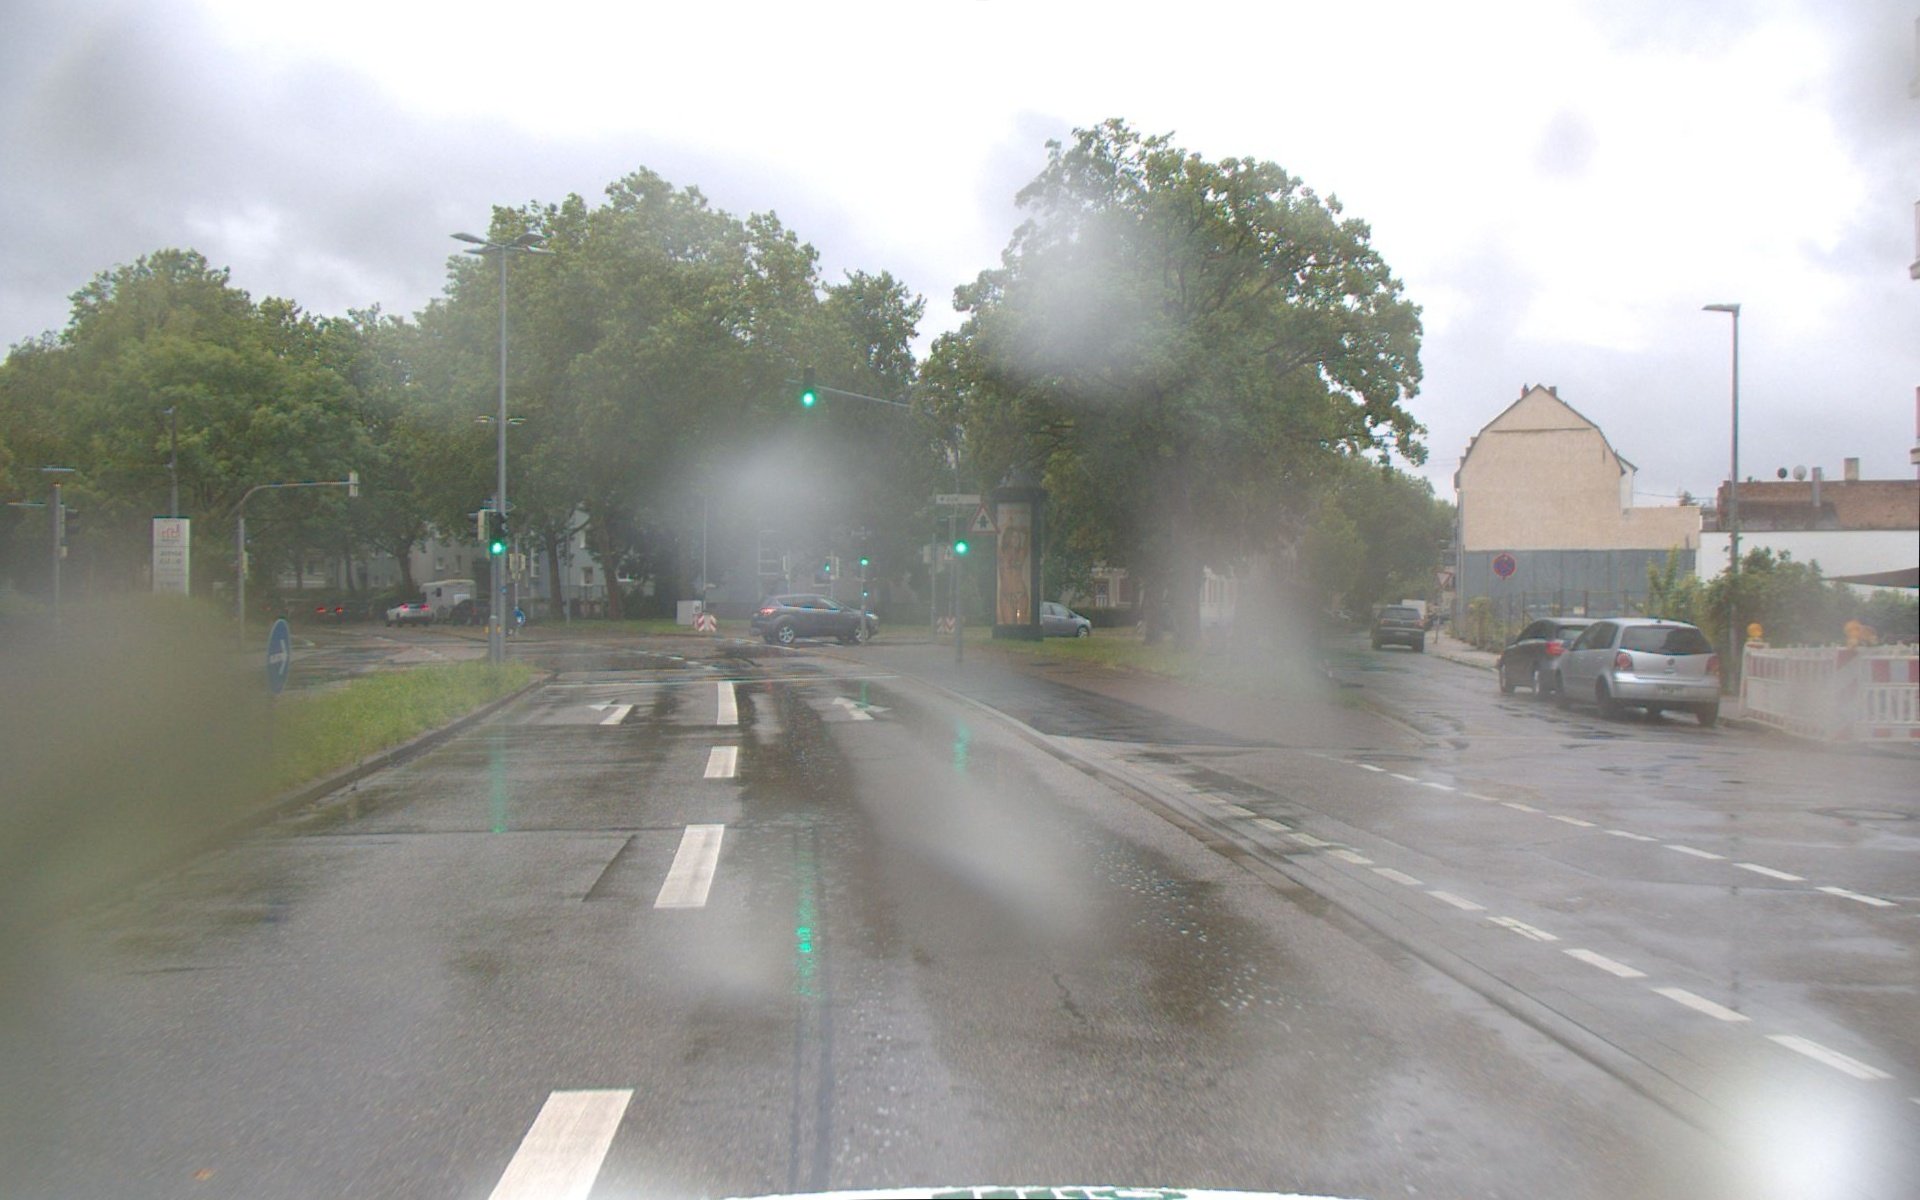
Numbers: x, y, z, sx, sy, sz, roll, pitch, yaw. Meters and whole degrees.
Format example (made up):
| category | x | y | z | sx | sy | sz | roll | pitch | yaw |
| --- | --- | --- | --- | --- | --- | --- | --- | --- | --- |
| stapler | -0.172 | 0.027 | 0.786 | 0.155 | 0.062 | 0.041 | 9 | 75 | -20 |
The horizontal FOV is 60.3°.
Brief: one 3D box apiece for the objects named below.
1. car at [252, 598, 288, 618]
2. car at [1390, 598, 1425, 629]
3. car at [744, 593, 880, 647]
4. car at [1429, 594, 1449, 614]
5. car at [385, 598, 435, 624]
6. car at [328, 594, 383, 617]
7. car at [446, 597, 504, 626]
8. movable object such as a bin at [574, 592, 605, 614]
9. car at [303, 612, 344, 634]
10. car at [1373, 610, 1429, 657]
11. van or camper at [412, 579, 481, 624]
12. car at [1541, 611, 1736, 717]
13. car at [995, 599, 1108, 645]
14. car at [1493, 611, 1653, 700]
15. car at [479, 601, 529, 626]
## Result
| category | x | y | z | sx | sy | sz | roll | pitch | yaw |
| --- | --- | --- | --- | --- | --- | --- | --- | --- | --- |
| car | -52.918 | 0.601 | 126.807 | 1.694 | 1.436 | 3.596 | -2 | 1 | -37 |
| car | 33.566 | 1.036 | 123.950 | 2.300 | 2.247 | 4.614 | 1 | -1 | 18 |
| car | -5.058 | 0.693 | 56.446 | 4.229 | 1.774 | 1.987 | 1 | -1 | -21 |
| car | 50.981 | 0.457 | 175.868 | 1.952 | 2.049 | 4.002 | 1 | -1 | 18 |
| car | -32.715 | 0.636 | 98.347 | 1.694 | 1.436 | 3.596 | -2 | 1 | -37 |
| car | -44.869 | 0.447 | 122.875 | 1.760 | 1.629 | 3.768 | 0 | -1 | 22 |
| car | -29.360 | 0.706 | 99.990 | 1.902 | 1.649 | 4.392 | 1 | -2 | -38 |
| movable object such as a bin | -25.713 | 0.194 | 114.788 | 1.825 | 1.458 | 1.212 | 0 | -1 | 35 |
| car | -44.154 | 1.564 | 114.686 | 1.694 | 1.436 | 3.596 | -2 | 1 | -37 |
| car | 16.718 | 1.258 | 62.831 | 1.814 | 1.683 | 4.308 | 1 | -1 | 12 |
| van or camper | -33.476 | 0.127 | 107.604 | 2.300 | 2.856 | 6.778 | 1 | -1 | -35 |
| car | 10.223 | 0.916 | 25.240 | 1.599 | 1.458 | 4.179 | 1 | -1 | 5 |
| car | 3.412 | 0.816 | 61.192 | 4.057 | 1.630 | 1.968 | 1 | -1 | -44 |
| car | 10.894 | 0.944 | 29.656 | 1.662 | 1.458 | 4.159 | 1 | -1 | 5 |
| car | -26.560 | 0.755 | 96.324 | 1.535 | 1.414 | 4.099 | 1 | -1 | -35 |
